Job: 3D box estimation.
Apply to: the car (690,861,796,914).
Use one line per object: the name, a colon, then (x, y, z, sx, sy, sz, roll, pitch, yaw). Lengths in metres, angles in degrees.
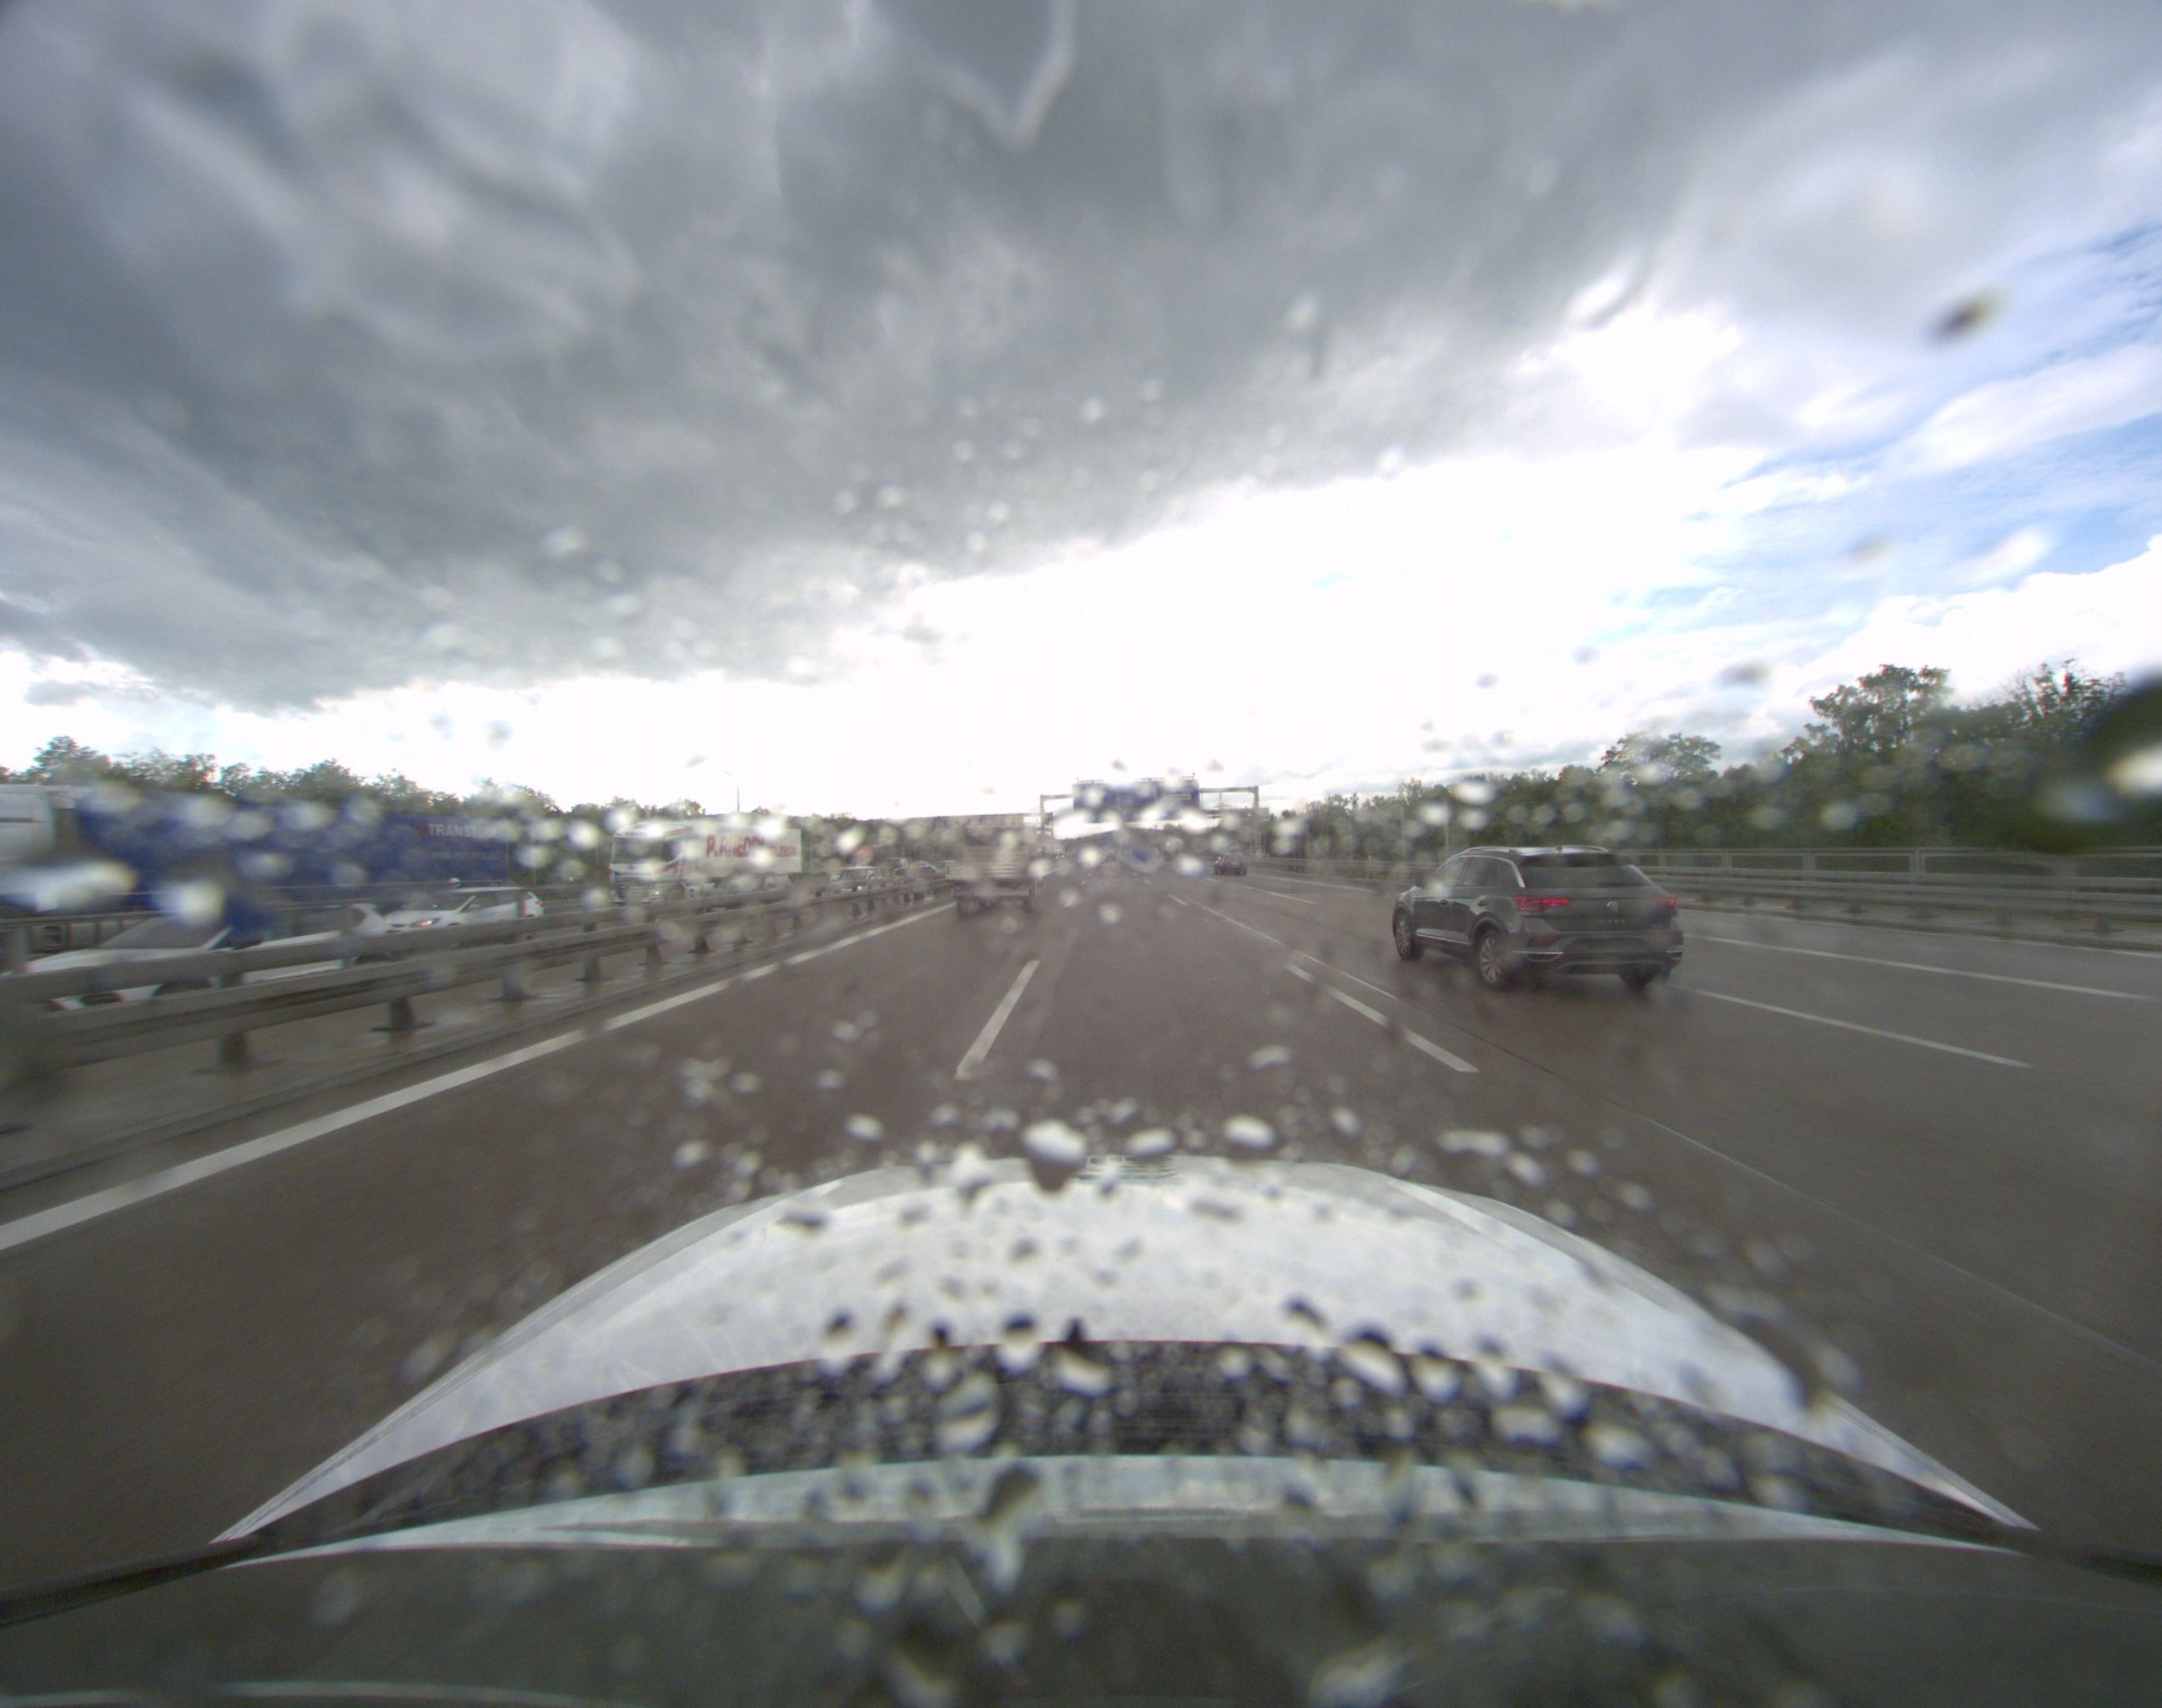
car: (-11.745, 1.111, 28.660, 1.785, 1.619, 4.285, -1, 0, 2)

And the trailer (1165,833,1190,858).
trailer: (16.531, -1.395, 140.152, 3.320, 4.175, 11.844, 0, 0, 2)

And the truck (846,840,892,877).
truck: (-21.464, 0.429, 82.925, 2.455, 3.536, 7.809, -2, 1, 1)

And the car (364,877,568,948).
car: (-16.246, 1.466, 21.928, 1.639, 1.510, 4.862, -1, 0, 2)

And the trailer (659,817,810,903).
trailer: (-19.197, 0.223, 46.401, 3.175, 4.194, 11.959, -2, 1, 1)

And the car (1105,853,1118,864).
car: (4.998, 0.668, 132.280, 2.037, 1.699, 4.003, -1, 0, 3)

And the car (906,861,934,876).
car: (-15.089, 1.332, 76.490, 1.697, 1.289, 4.188, -2, 1, 1)

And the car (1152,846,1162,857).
car: (16.806, -0.544, 179.908, 2.037, 2.498, 4.002, -1, 0, 2)

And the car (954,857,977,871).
car: (-13.933, 1.195, 98.698, 1.875, 1.598, 5.137, -2, 1, 1)

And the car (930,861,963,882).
car: (-11.522, 1.486, 70.039, 1.866, 1.647, 4.723, -2, 1, 1)

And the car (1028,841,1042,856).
car: (-10.770, -1.305, 191.743, 2.488, 3.300, 7.630, -1, 0, 2)

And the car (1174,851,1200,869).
car: (10.606, 0.560, 81.677, 2.037, 1.699, 5.009, -1, 0, 2)

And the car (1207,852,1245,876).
car: (10.162, 0.690, 57.424, 2.096, 1.606, 5.070, -1, 0, 3)

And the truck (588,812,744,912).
truck: (-19.315, 0.302, 38.634, 3.166, 4.194, 7.739, -2, 1, 1)

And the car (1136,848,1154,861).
car: (9.021, 0.054, 115.587, 2.091, 1.699, 3.998, -1, 0, -1)

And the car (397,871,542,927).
car: (-20.052, 1.406, 26.950, 1.639, 1.545, 4.002, -2, 1, 2)

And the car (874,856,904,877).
car: (-18.365, 1.149, 78.132, 1.577, 1.890, 4.821, -2, 1, 1)

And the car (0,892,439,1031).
car: (-12.169, 1.383, 11.927, 1.713, 1.354, 4.627, -2, 0, 2)

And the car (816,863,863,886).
car: (-16.181, 1.366, 54.755, 1.639, 1.407, 4.545, -1, 0, 2)

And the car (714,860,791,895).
car: (-15.640, 1.083, 39.050, 1.639, 1.503, 4.679, -2, 0, 2)

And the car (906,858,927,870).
car: (-21.823, 1.364, 108.136, 1.755, 1.426, 4.343, -2, 1, 1)

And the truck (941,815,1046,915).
truck: (-2.272, 0.234, 23.379, 2.346, 2.408, 7.354, 0, 0, -1)

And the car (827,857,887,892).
car: (-11.272, 1.018, 41.219, 1.785, 1.619, 4.002, -1, 0, 2)

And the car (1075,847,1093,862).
car: (0.382, 0.027, 99.813, 2.037, 1.699, 4.002, -1, 0, 2)

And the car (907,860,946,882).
car: (-10.779, 1.152, 56.997, 1.639, 1.440, 4.732, -1, 0, 2)

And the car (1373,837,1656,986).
car: (5.269, 0.612, 10.510, 1.785, 1.562, 3.724, -1, 0, 2)

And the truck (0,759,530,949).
truck: (-24.015, -0.045, 24.400, 2.639, 4.021, 17.750, -2, 1, 1)

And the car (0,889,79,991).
car: (-20.121, 1.589, 13.200, 1.960, 1.747, 4.577, -2, 1, 2)
